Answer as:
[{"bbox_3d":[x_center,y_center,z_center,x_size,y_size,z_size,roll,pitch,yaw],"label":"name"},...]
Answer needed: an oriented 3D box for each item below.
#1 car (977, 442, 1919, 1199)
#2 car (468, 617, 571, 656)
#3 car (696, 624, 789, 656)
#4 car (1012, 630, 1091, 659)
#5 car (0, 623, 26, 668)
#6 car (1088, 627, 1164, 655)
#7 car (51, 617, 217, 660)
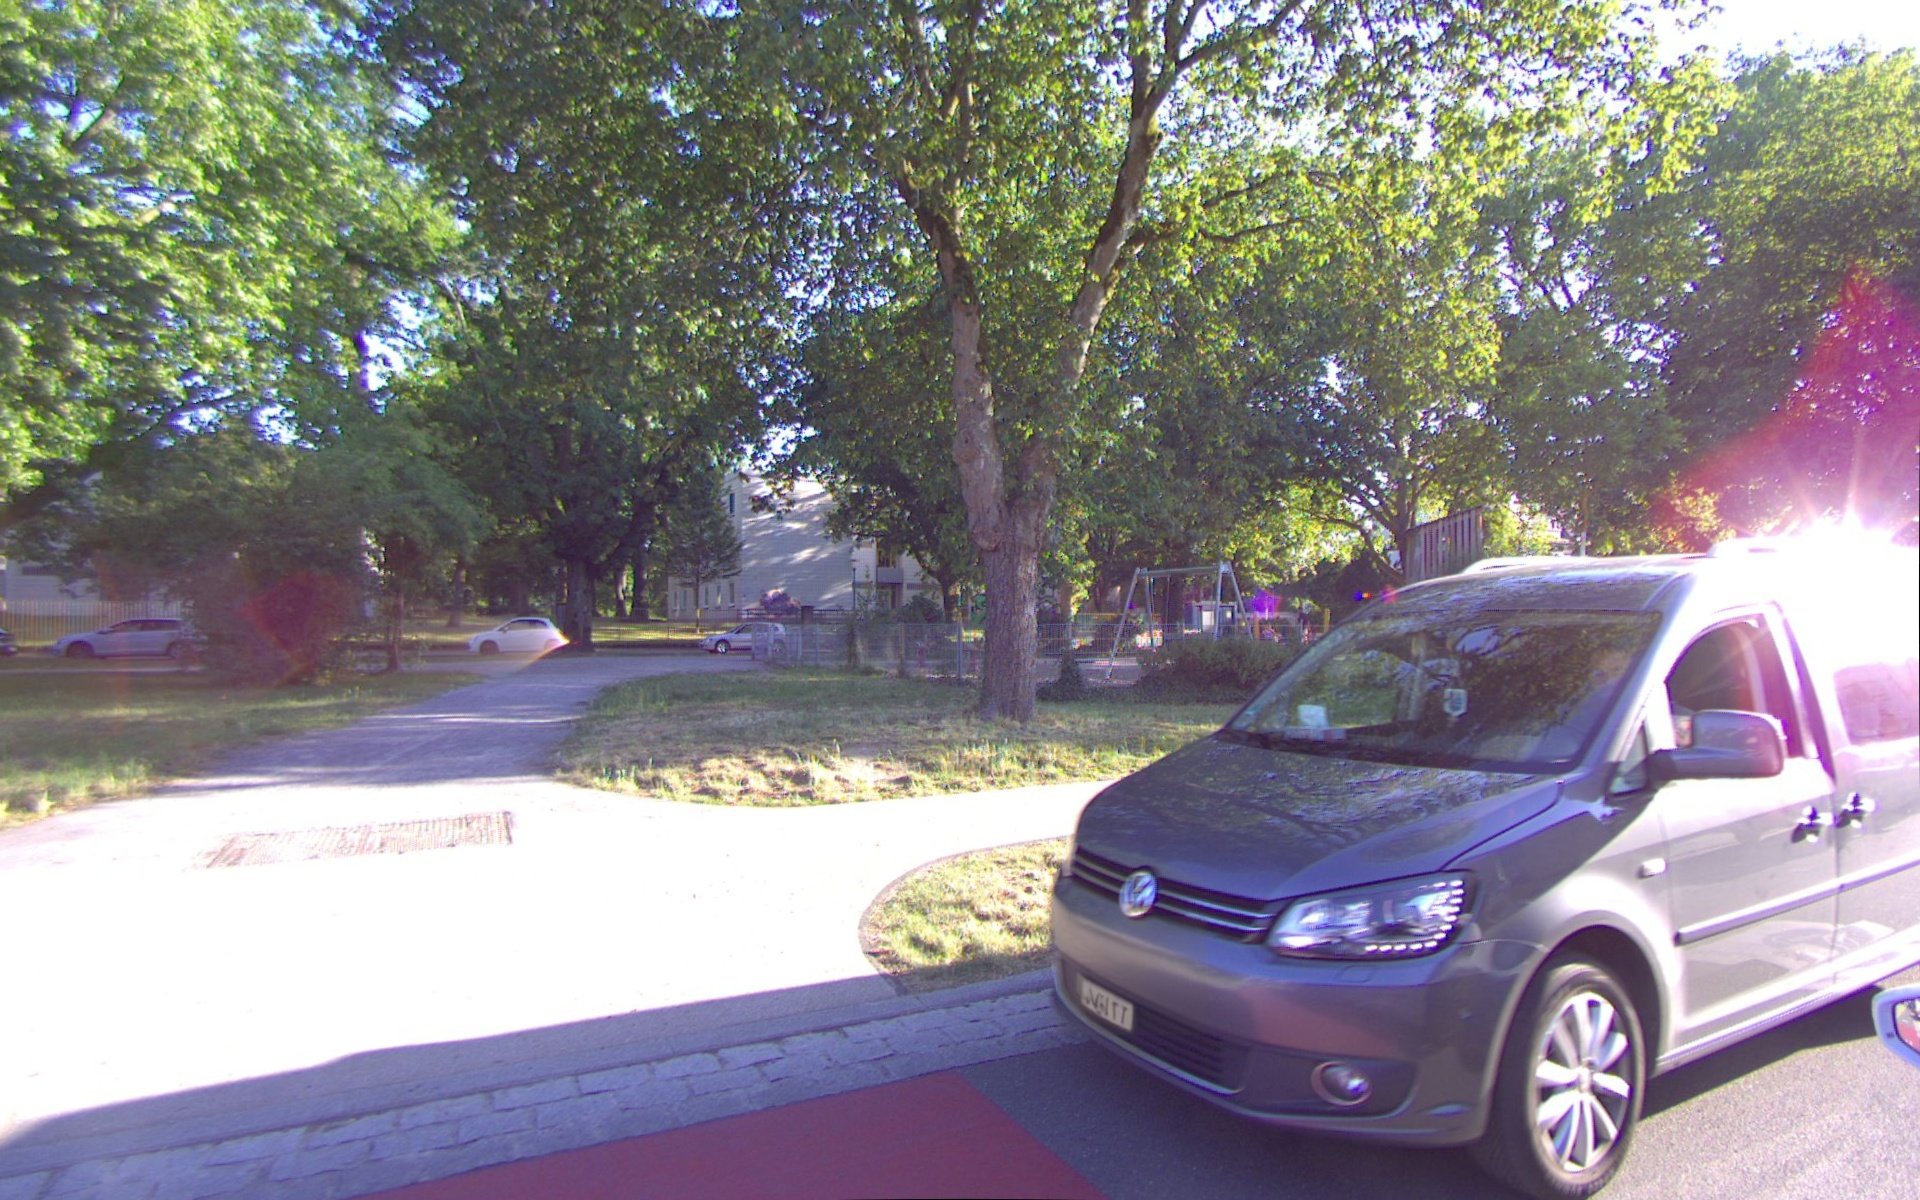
[{"bbox_3d":[2.474,0.675,4.103,4.516,1.871,1.837,2,-3,-28],"label":"car"},{"bbox_3d":[-17.195,1.409,39.284,3.613,1.483,1.596,1,0,-25],"label":"car"},{"bbox_3d":[-9.439,1.722,43.589,3.702,1.309,1.517,1,-1,-26],"label":"car"},{"bbox_3d":[4.608,2.221,50.376,3.702,1.386,1.517,1,-1,-26],"label":"car"},{"bbox_3d":[-32.231,1.440,31.702,3.744,1.386,1.516,1,-1,-27],"label":"car"},{"bbox_3d":[8.630,2.115,52.128,3.702,1.386,1.517,1,-1,-26],"label":"car"},{"bbox_3d":[-27.695,1.261,33.844,4.055,1.386,1.516,1,-1,-27],"label":"car"}]
